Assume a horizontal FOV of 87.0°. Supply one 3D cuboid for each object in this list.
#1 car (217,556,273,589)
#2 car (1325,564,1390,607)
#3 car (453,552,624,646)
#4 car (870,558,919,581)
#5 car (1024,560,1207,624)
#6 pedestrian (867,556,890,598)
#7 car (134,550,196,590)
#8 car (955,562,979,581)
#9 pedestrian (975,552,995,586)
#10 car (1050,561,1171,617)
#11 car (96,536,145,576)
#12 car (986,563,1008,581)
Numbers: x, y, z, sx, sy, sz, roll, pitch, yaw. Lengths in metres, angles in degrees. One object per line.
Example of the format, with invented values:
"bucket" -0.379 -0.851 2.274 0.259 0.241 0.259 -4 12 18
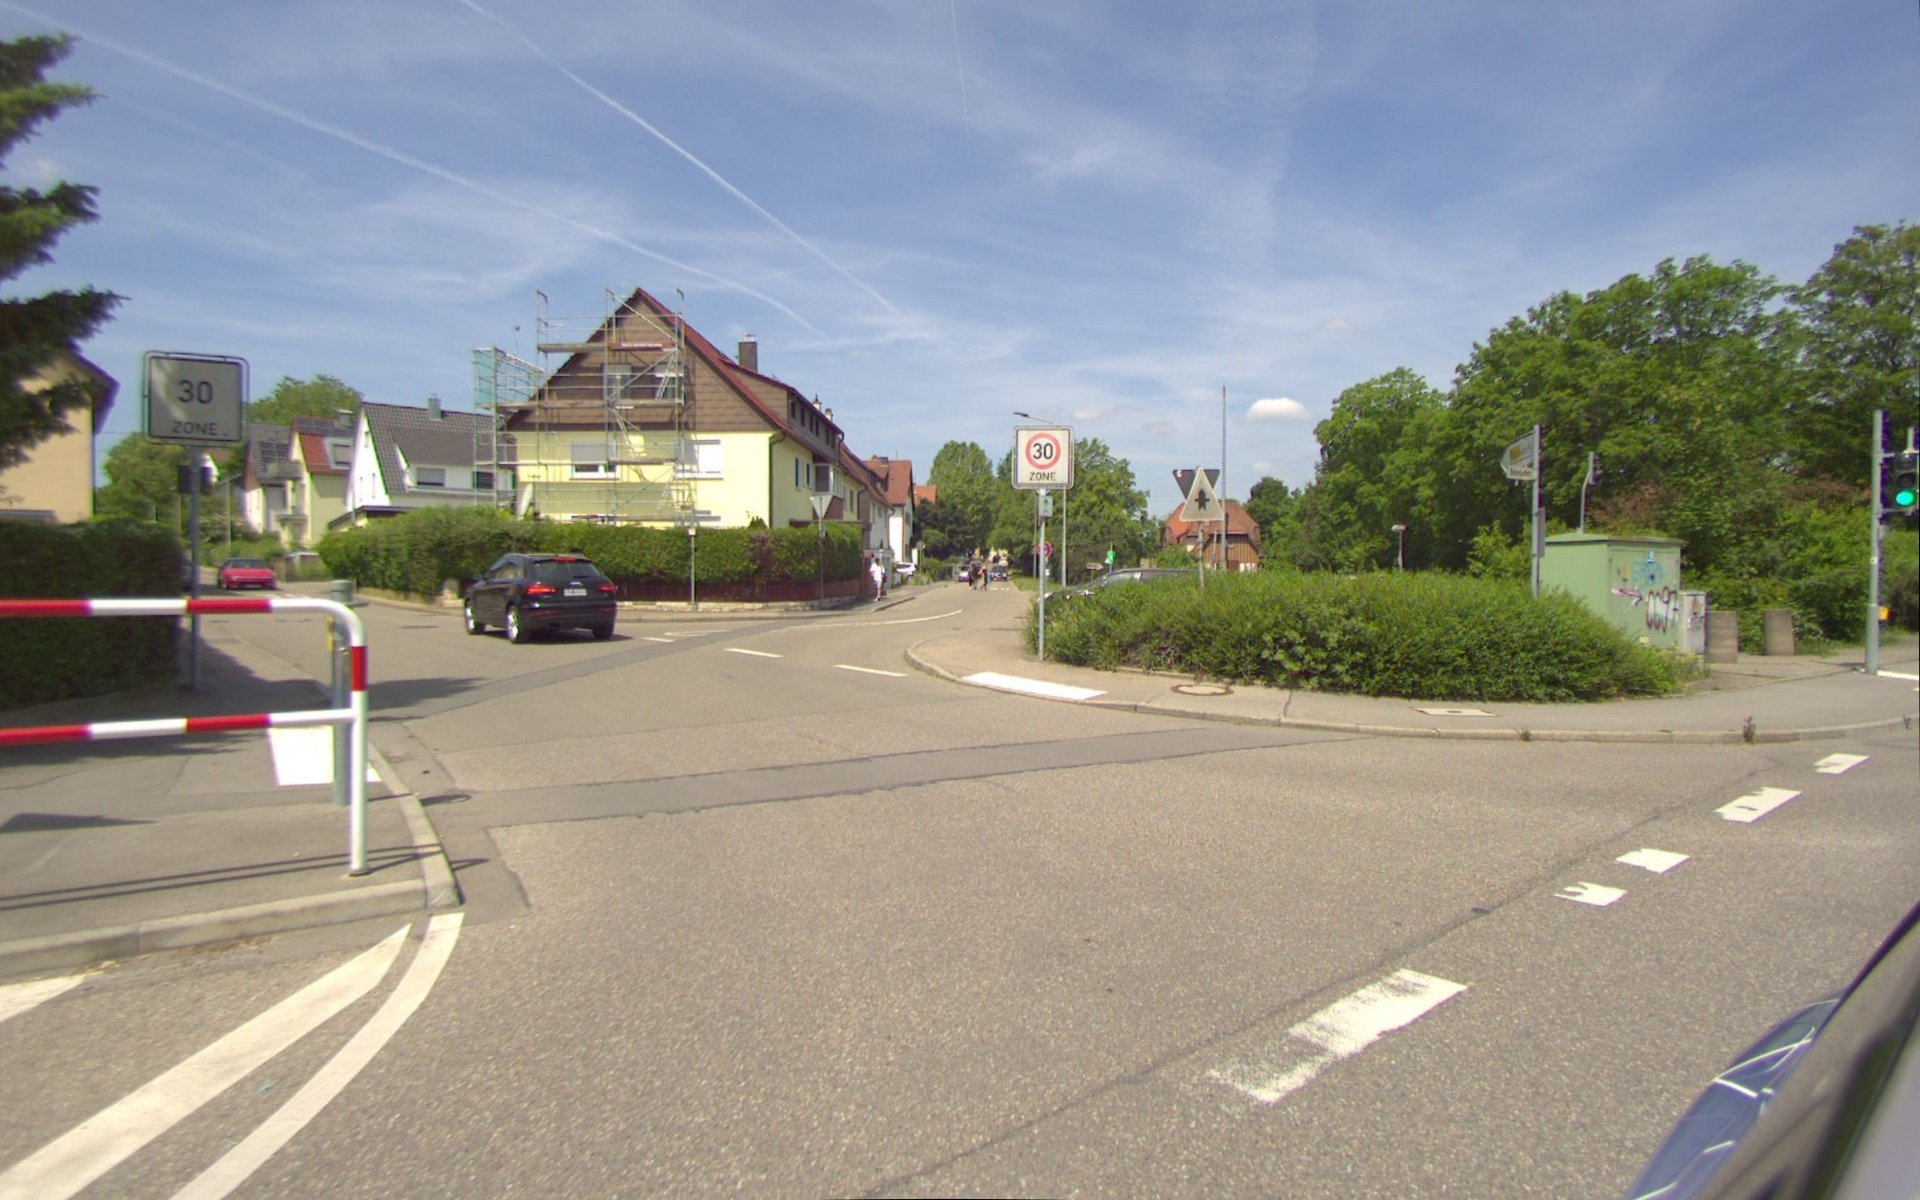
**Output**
"car" -29.085 -1.137 41.128 1.641 1.294 3.801 0 2 -39
"car" 15.783 -0.594 40.305 1.580 1.638 3.728 1 1 9
"car" -8.020 -0.116 19.104 1.744 1.574 3.904 -3 4 -42
"car" -5.334 -2.522 82.905 3.924 1.799 2.001 1 2 0
"car" 3.738 -0.225 24.431 4.217 1.416 1.396 1 2 11
"pedestrian" -3.206 -0.909 39.870 0.766 1.625 0.798 1 1 6
"car" -30.428 -1.166 38.801 1.769 1.452 3.802 0 2 -37
"car" 0.672 -2.717 95.558 1.965 1.748 3.996 1 2 5
"pedestrian" 1.533 -1.899 61.440 1.087 2.038 1.007 1 1 10
"car" 4.358 -0.338 29.606 3.373 1.503 1.416 2 2 5
"car" -46.842 -2.424 56.540 1.964 2.129 3.998 0 2 -38
"car" 3.625 -2.761 99.310 1.965 1.748 3.996 1 2 5
